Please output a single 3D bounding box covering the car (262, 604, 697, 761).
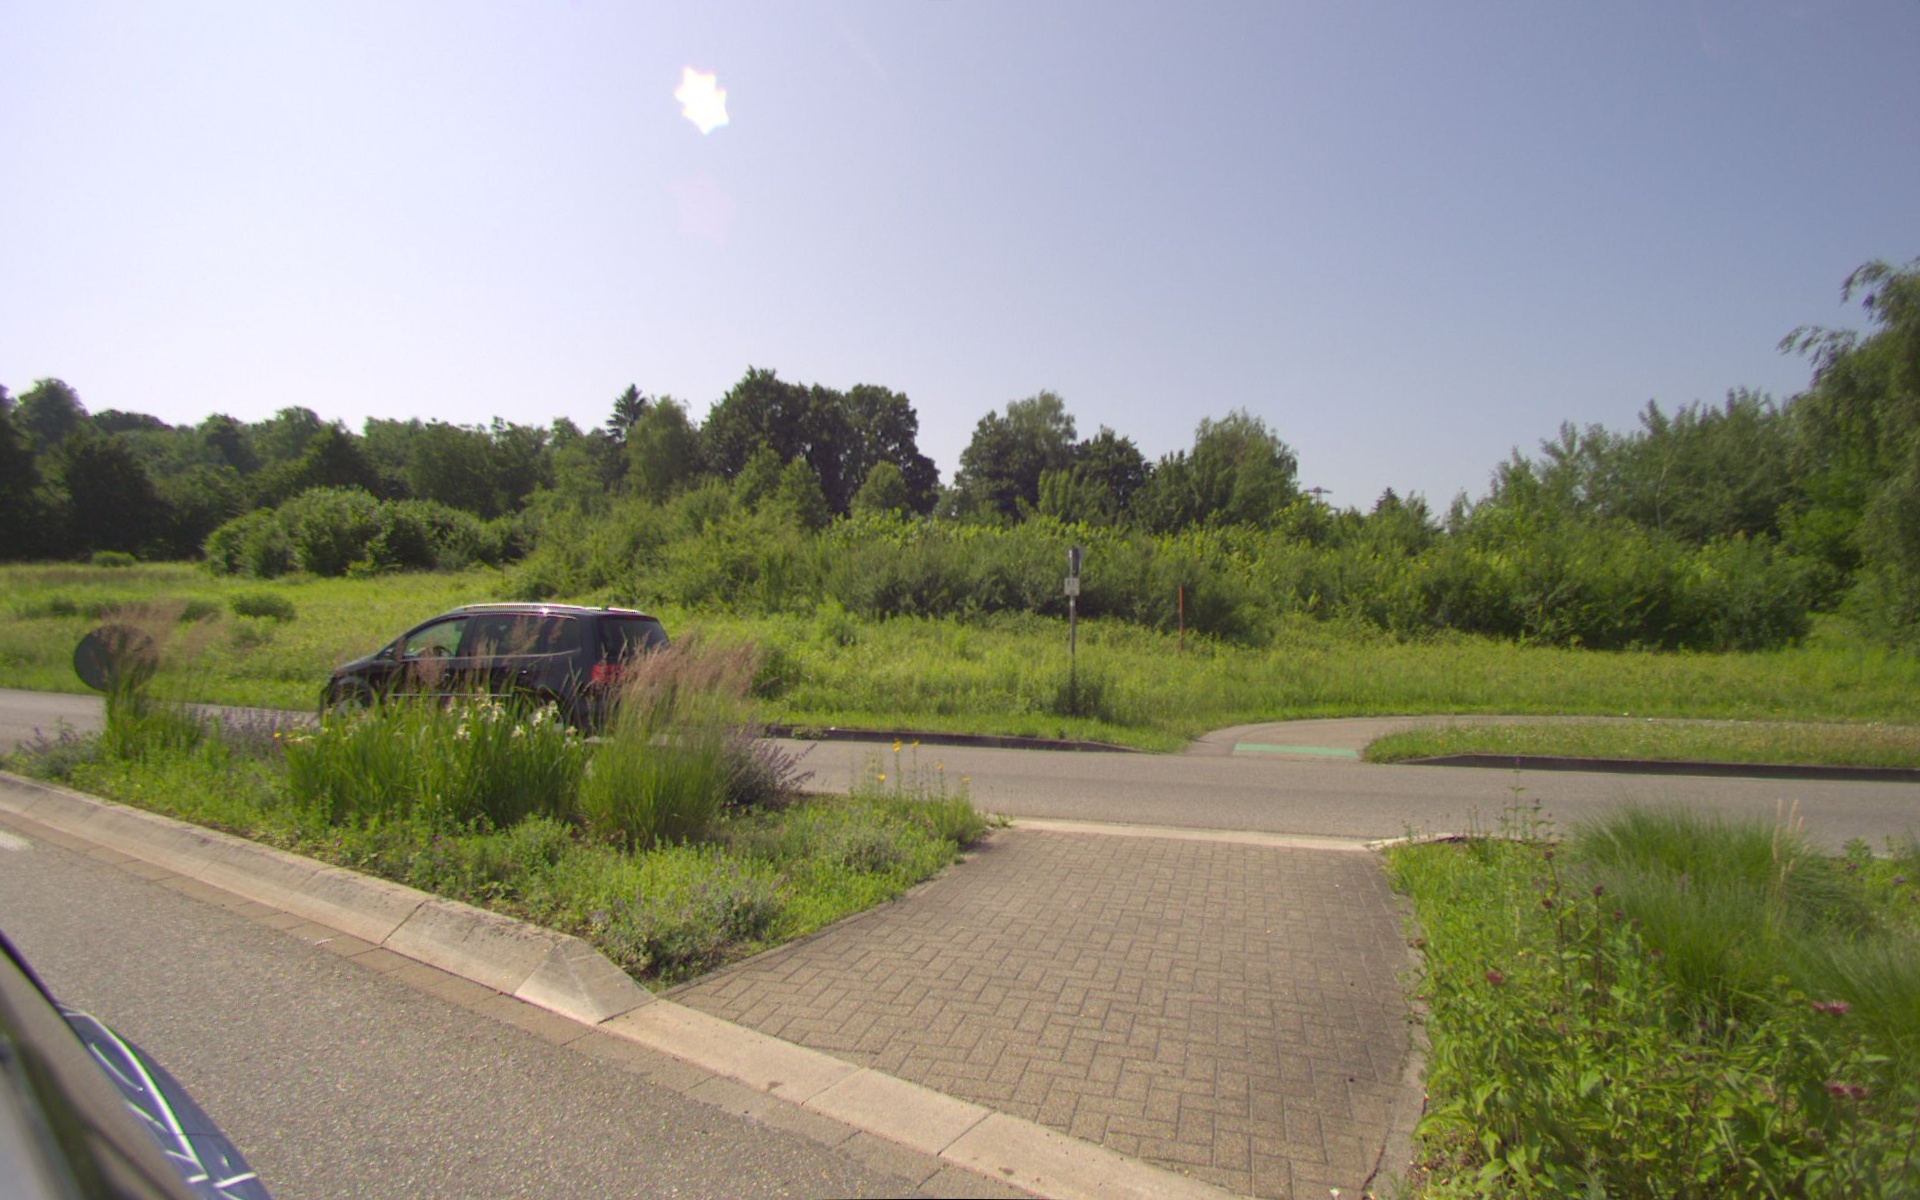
[{"bbox_3d":[-5.510,0.894,11.835,4.329,1.607,1.905,0,-3,12],"label":"car"}]
